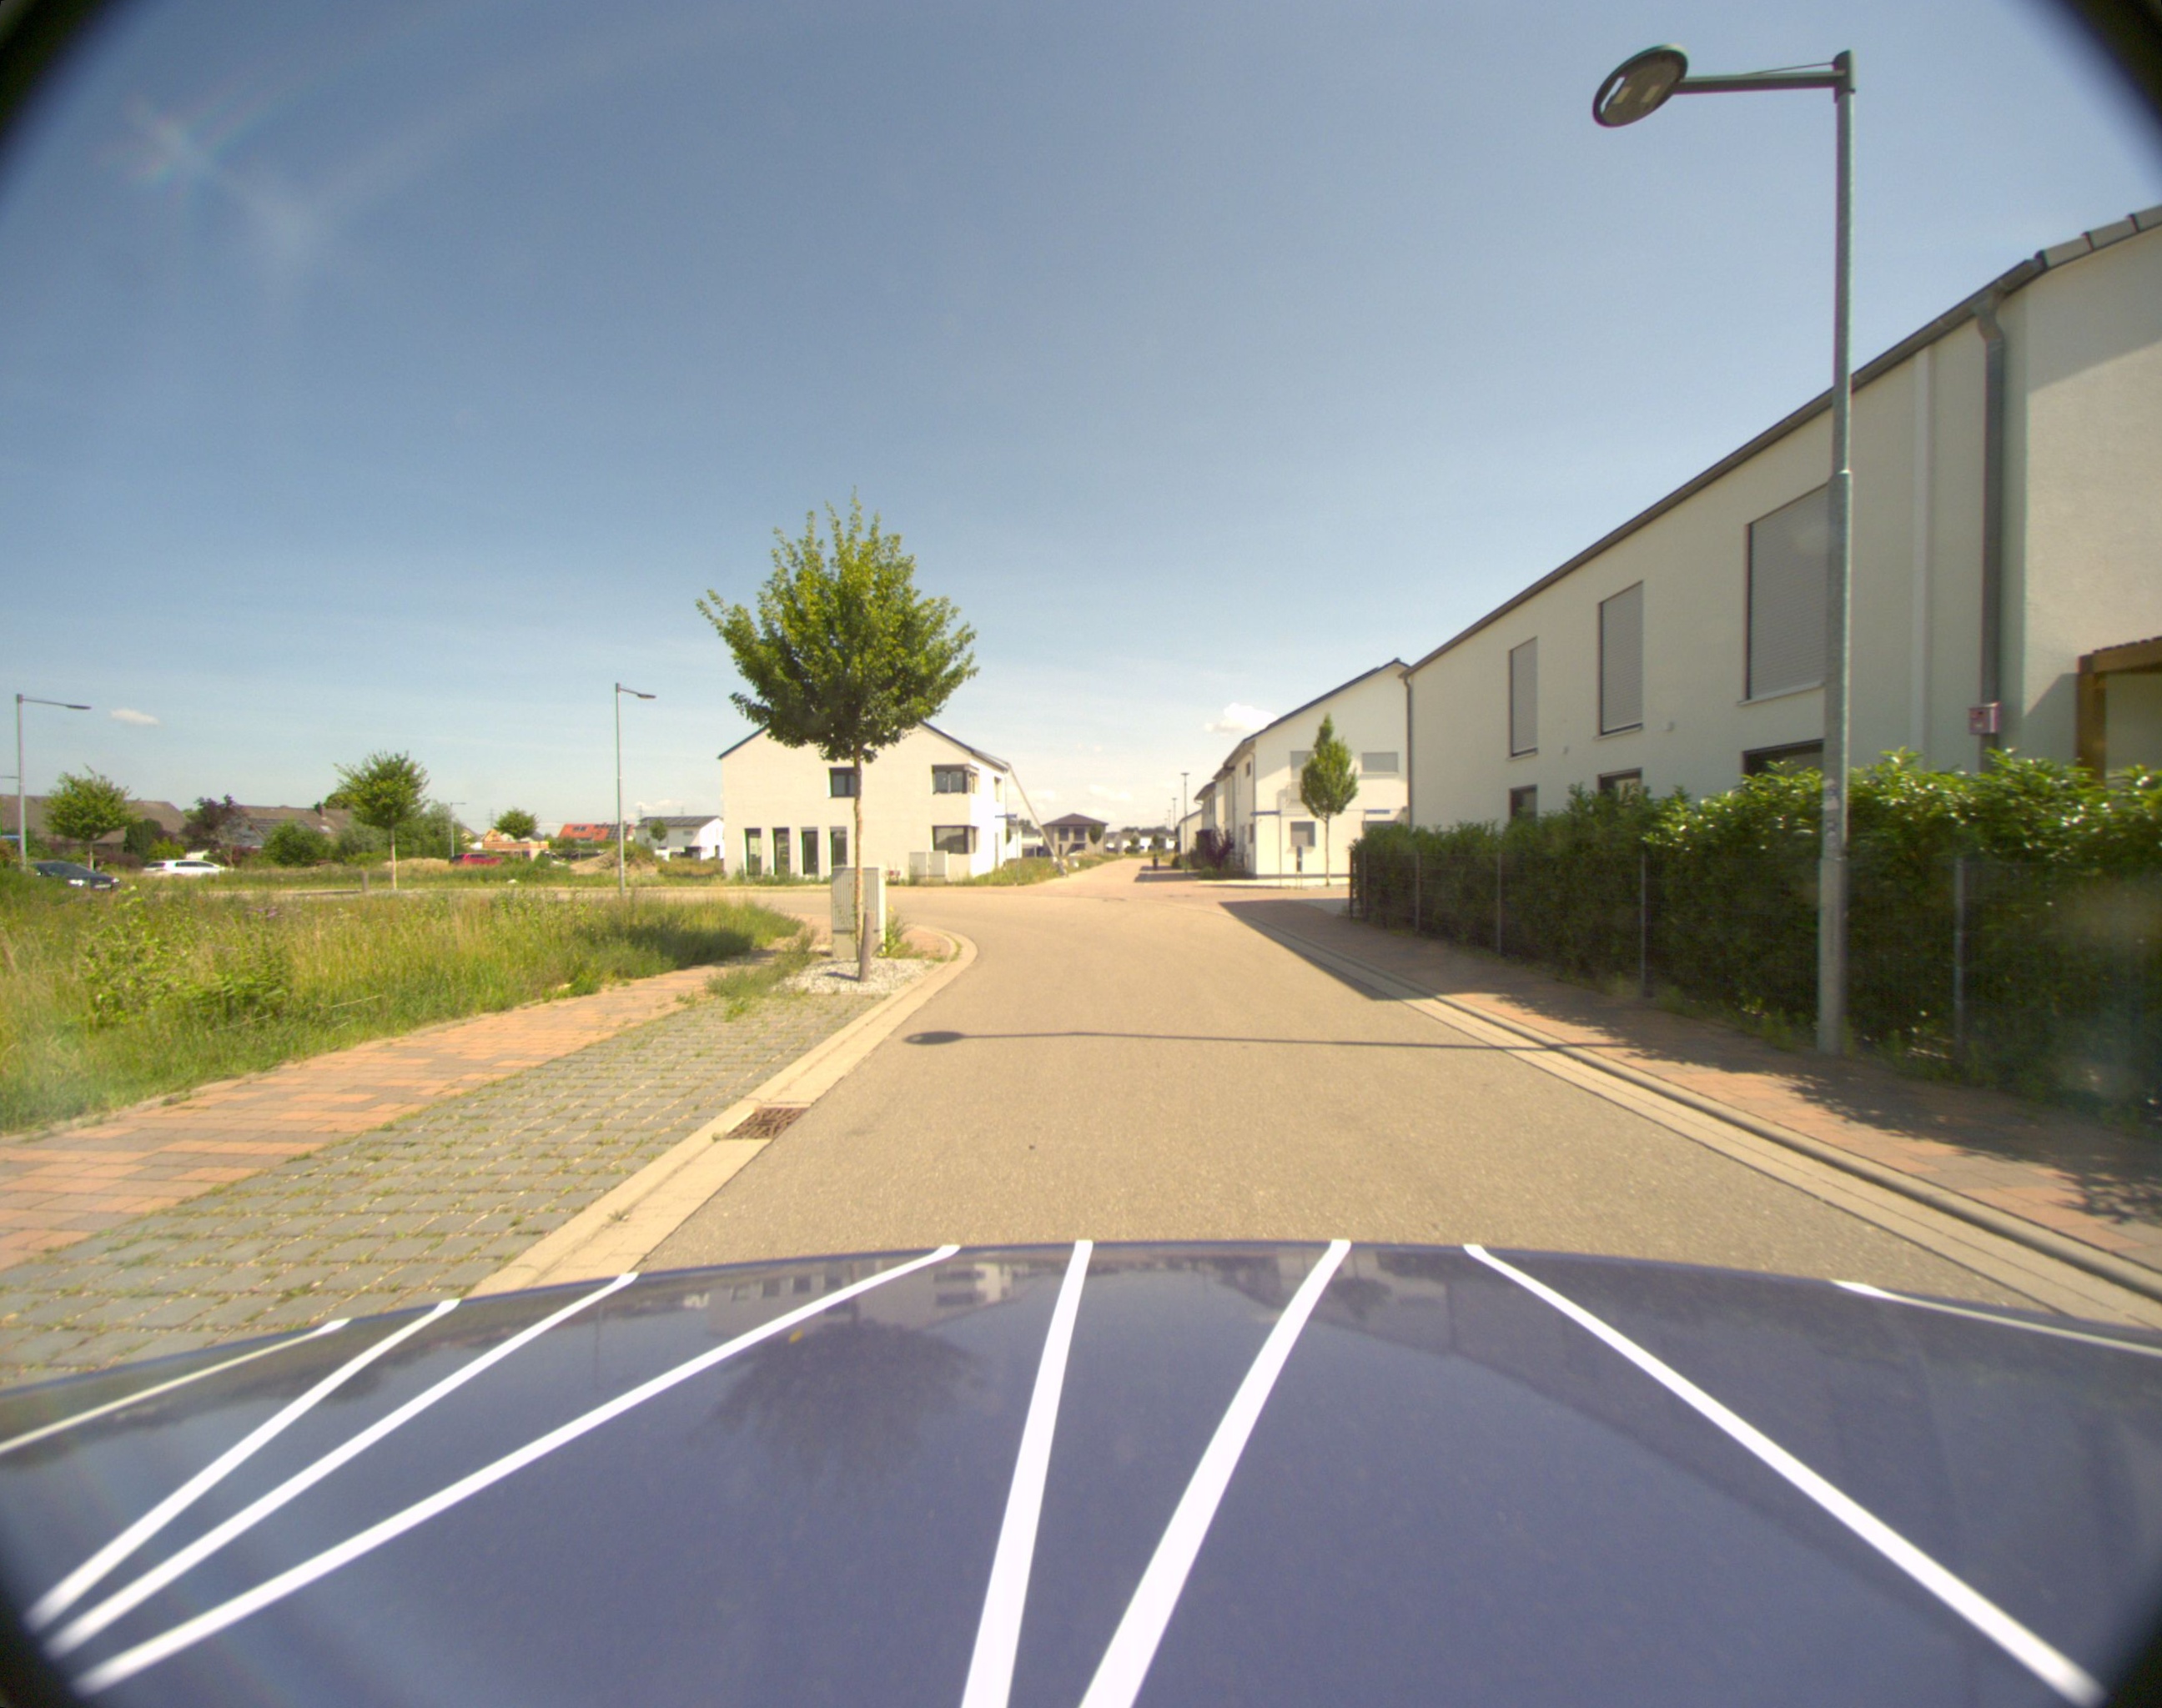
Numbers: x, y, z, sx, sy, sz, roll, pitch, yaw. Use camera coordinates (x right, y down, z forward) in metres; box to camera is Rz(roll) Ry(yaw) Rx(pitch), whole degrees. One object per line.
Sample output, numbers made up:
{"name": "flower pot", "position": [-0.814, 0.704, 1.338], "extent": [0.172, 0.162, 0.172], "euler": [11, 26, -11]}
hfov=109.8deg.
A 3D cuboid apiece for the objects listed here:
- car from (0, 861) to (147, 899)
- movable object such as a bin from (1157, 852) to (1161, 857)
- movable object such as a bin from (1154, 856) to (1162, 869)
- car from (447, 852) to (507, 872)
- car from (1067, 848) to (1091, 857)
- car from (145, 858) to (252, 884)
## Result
{"name": "car", "position": [-41.753, 1.061, 31.430], "extent": [4.139, 1.446, 1.817], "euler": [0, 3, 4]}
{"name": "movable object such as a bin", "position": [12.889, 0.051, 125.748], "extent": [0.597, 0.916, 0.462], "euler": [0, 1, 6]}
{"name": "movable object such as a bin", "position": [5.564, 0.594, 54.827], "extent": [0.597, 0.916, 0.462], "euler": [0, 1, 6]}
{"name": "car", "position": [-53.059, 0.671, 66.806], "extent": [1.807, 1.606, 4.001], "euler": [0, 1, 6]}
{"name": "car", "position": [-0.372, -0.254, 129.926], "extent": [3.998, 1.543, 1.834], "euler": [0, 1, -2]}
{"name": "car", "position": [-55.300, 1.047, 47.721], "extent": [1.807, 1.494, 4.002], "euler": [0, 1, 9]}
